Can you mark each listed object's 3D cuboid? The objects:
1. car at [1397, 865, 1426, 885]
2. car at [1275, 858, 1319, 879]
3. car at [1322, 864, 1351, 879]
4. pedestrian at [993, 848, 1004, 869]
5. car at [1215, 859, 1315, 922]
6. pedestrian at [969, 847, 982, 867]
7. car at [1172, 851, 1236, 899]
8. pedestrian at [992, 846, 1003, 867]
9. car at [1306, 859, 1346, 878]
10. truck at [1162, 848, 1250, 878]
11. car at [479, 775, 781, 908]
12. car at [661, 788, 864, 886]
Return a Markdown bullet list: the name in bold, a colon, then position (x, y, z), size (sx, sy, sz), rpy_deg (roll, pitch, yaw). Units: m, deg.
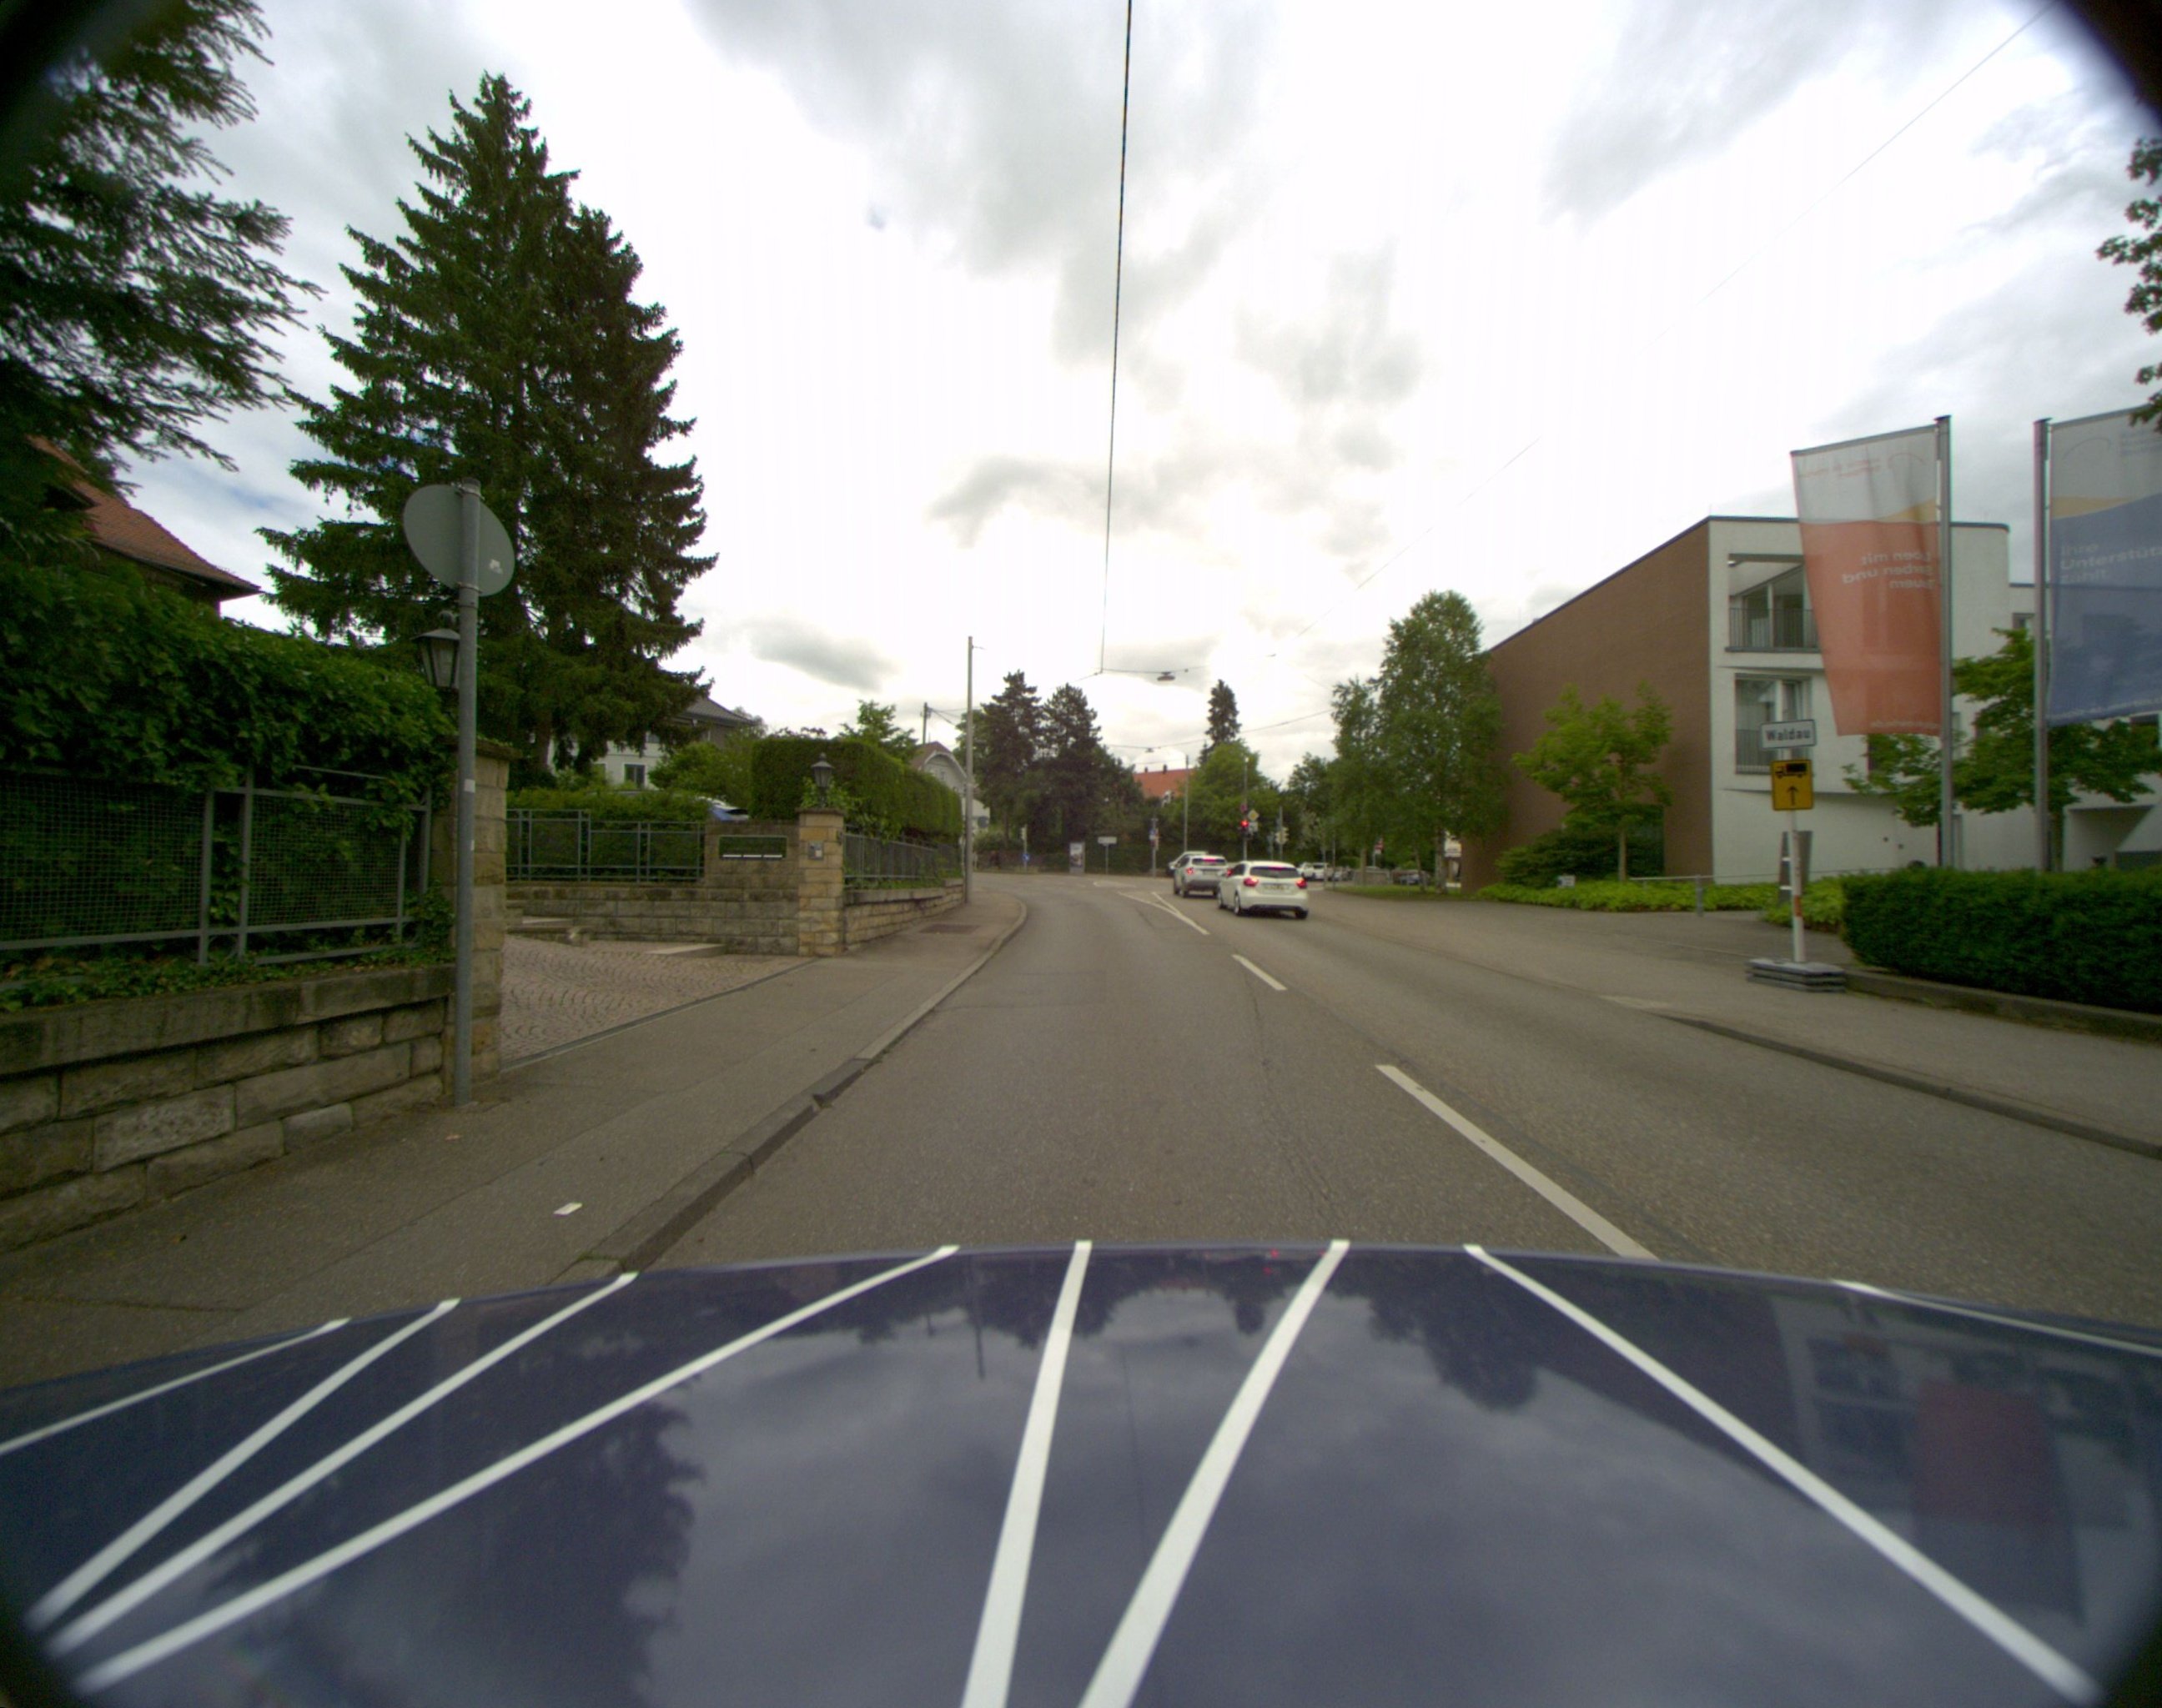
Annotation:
- **car**: position (26.425, 1.660, 60.650), size (1.876, 1.440, 4.008), rpy_deg (2, 0, 27)
- **car**: position (17.952, 1.192, 62.983), size (1.994, 1.603, 4.009), rpy_deg (2, 0, 40)
- **car**: position (24.401, 1.641, 72.502), size (1.867, 1.445, 3.738), rpy_deg (0, 0, 30)
- **pedestrian**: position (-7.189, 0.377, 66.360), size (0.665, 1.777, 0.614), rpy_deg (2, 0, 26)
- **car**: position (4.832, 0.904, 20.536), size (1.770, 1.413, 4.065), rpy_deg (2, 0, 1)
- **pedestrian**: position (-9.426, 0.284, 67.867), size (0.686, 1.803, 0.882), rpy_deg (2, 0, 30)
- **car**: position (4.640, 0.740, 29.203), size (1.773, 1.628, 4.302), rpy_deg (3, 0, 2)
- **pedestrian**: position (-7.456, 0.204, 67.877), size (0.611, 1.824, 0.605), rpy_deg (2, 0, 28)
- **car**: position (21.671, 1.276, 67.206), size (1.994, 1.603, 4.009), rpy_deg (2, 0, 40)
- **truck**: position (10.000, 0.664, 60.703), size (6.706, 2.176, 2.532), rpy_deg (2, 1, 12)
- **car**: position (-7.822, -0.204, 13.509), size (3.997, 1.603, 2.000), rpy_deg (9, 0, 0)
- **car**: position (-7.284, -0.379, 17.667), size (3.749, 1.603, 1.814), rpy_deg (9, 0, 0)
